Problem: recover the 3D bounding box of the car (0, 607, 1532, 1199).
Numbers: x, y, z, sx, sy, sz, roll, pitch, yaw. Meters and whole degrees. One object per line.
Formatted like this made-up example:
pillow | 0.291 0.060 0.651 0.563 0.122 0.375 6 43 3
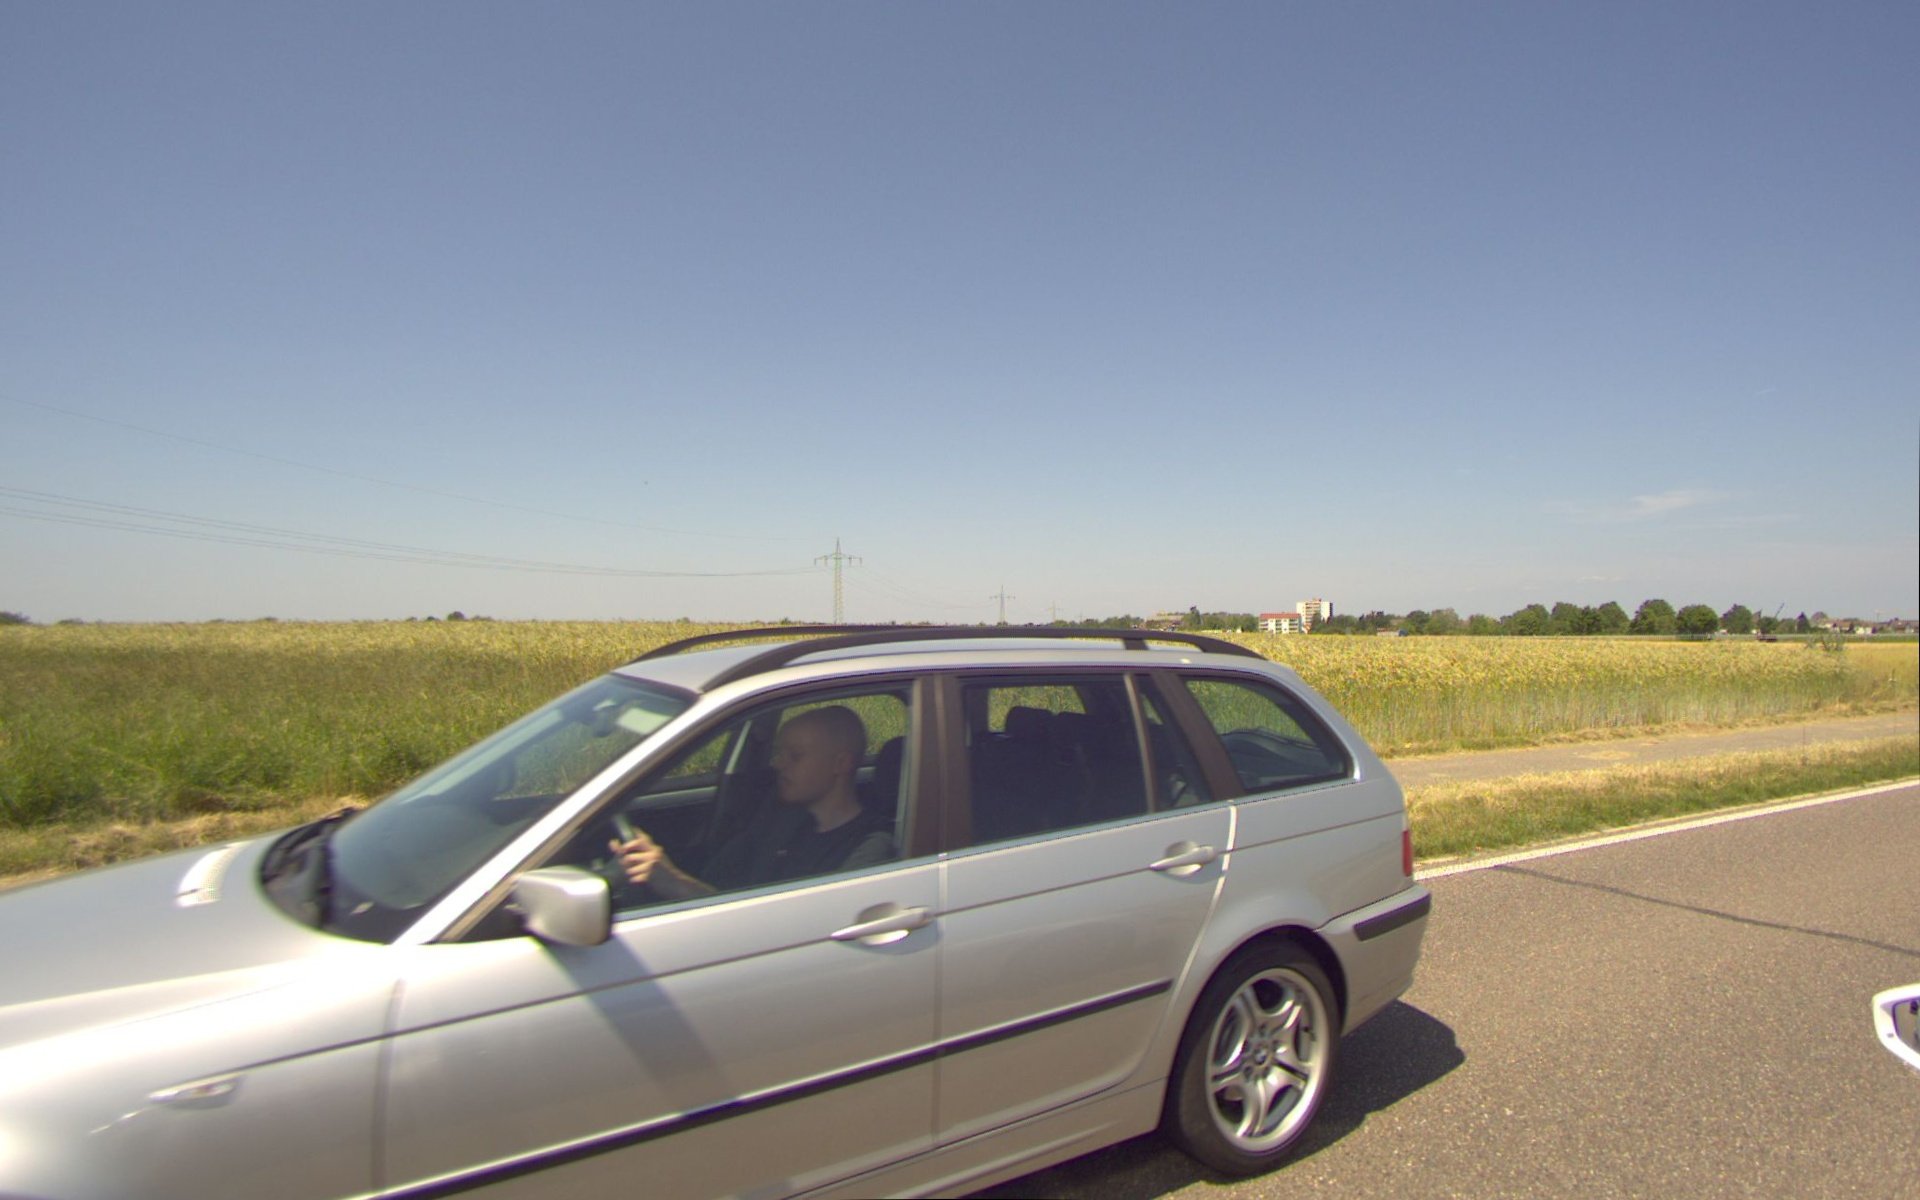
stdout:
car | -0.285 0.777 3.000 3.985 1.419 1.739 2 -1 -31
